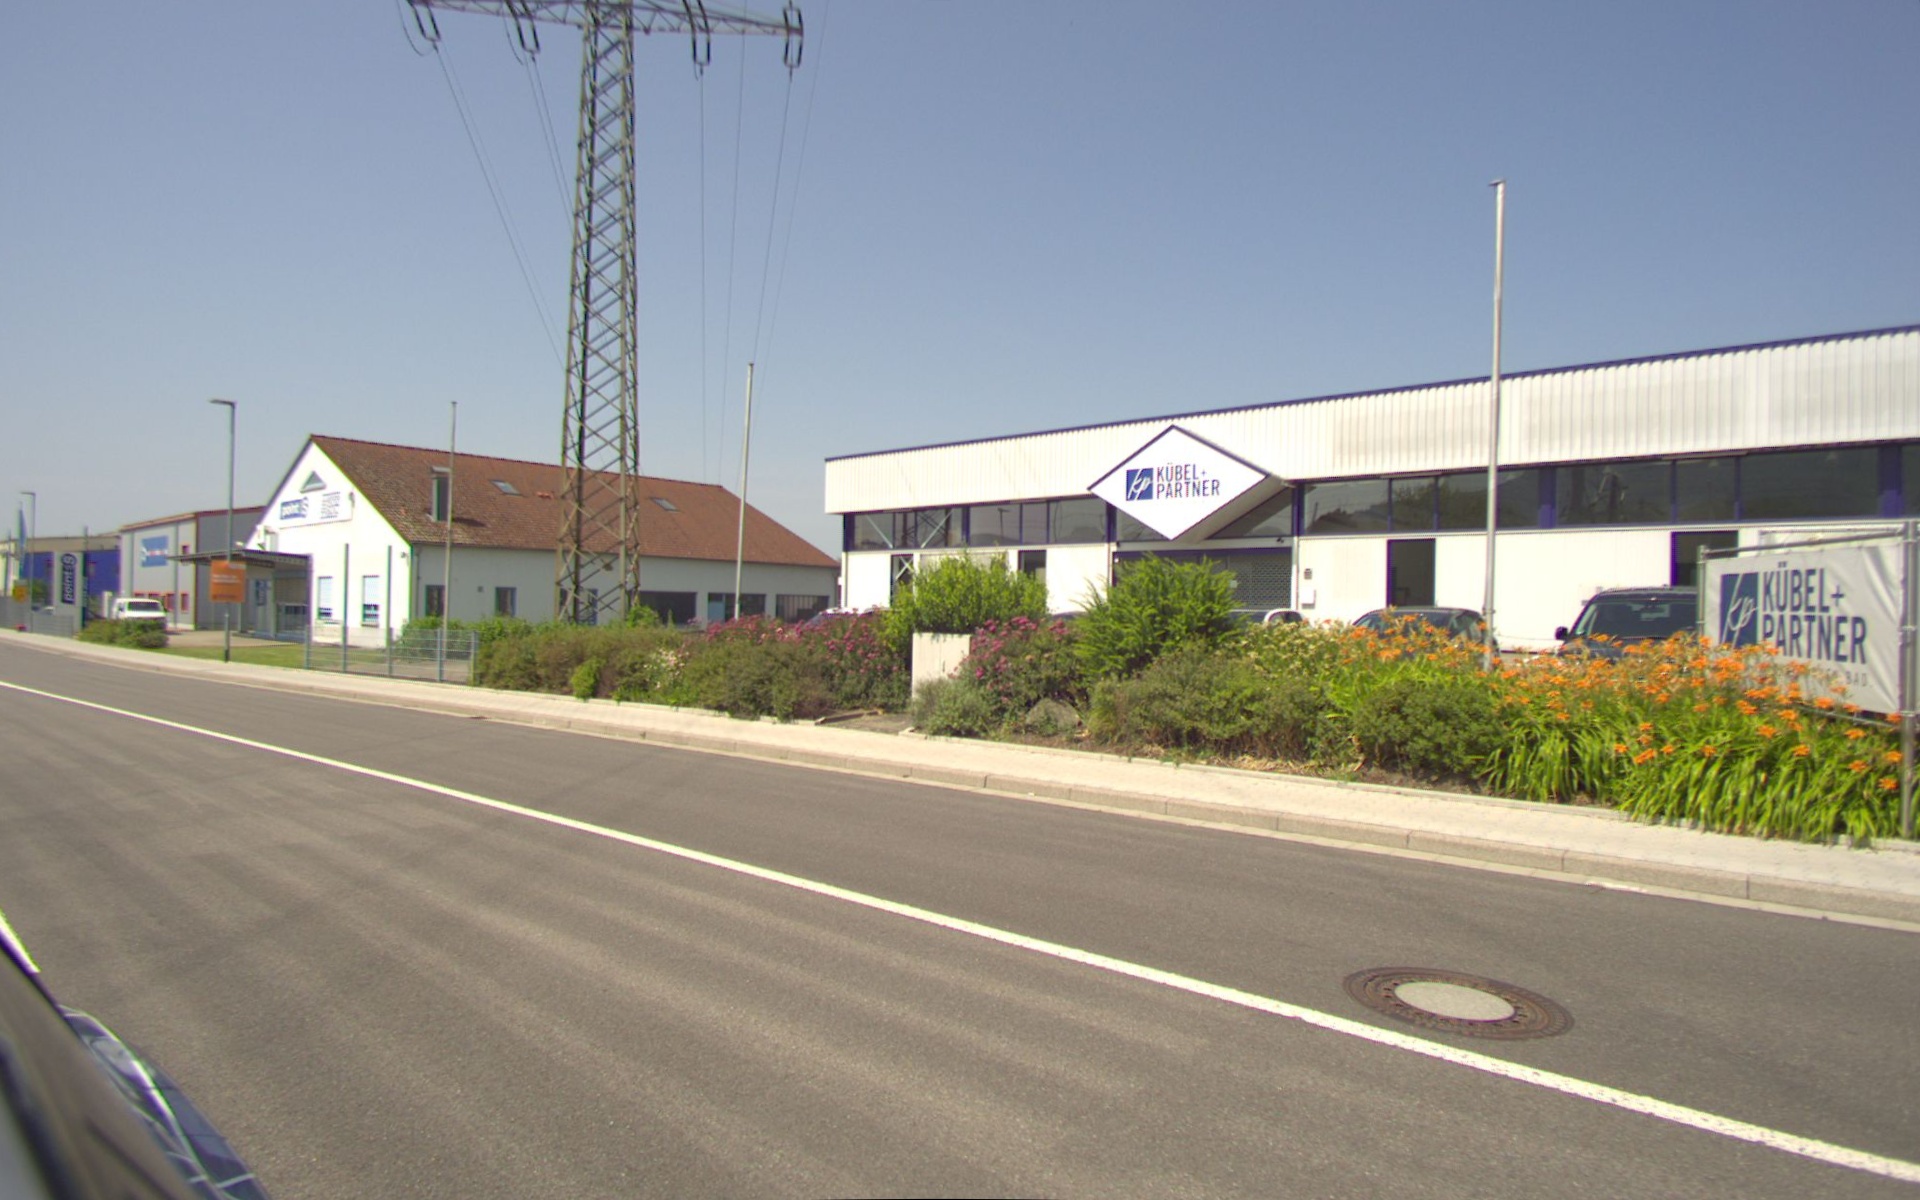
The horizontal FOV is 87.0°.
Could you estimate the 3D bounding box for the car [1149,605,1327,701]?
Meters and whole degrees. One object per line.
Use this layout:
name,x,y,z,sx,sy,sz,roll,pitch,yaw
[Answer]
car,4.542,0.764,16.269,1.503,1.263,3.475,0,1,39

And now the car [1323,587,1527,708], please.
car,7.025,0.673,15.076,1.997,1.540,3.950,0,-2,37

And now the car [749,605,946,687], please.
car,-2.324,0.897,21.777,1.762,1.467,4.183,0,1,39

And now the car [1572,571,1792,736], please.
car,8.624,0.594,12.100,1.831,1.608,4.184,0,-2,37

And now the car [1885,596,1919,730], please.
car,10.862,0.657,9.923,1.994,1.425,3.955,0,-2,33

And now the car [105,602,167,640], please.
car,-46.891,1.198,57.572,4.679,2.029,1.972,1,-1,42
